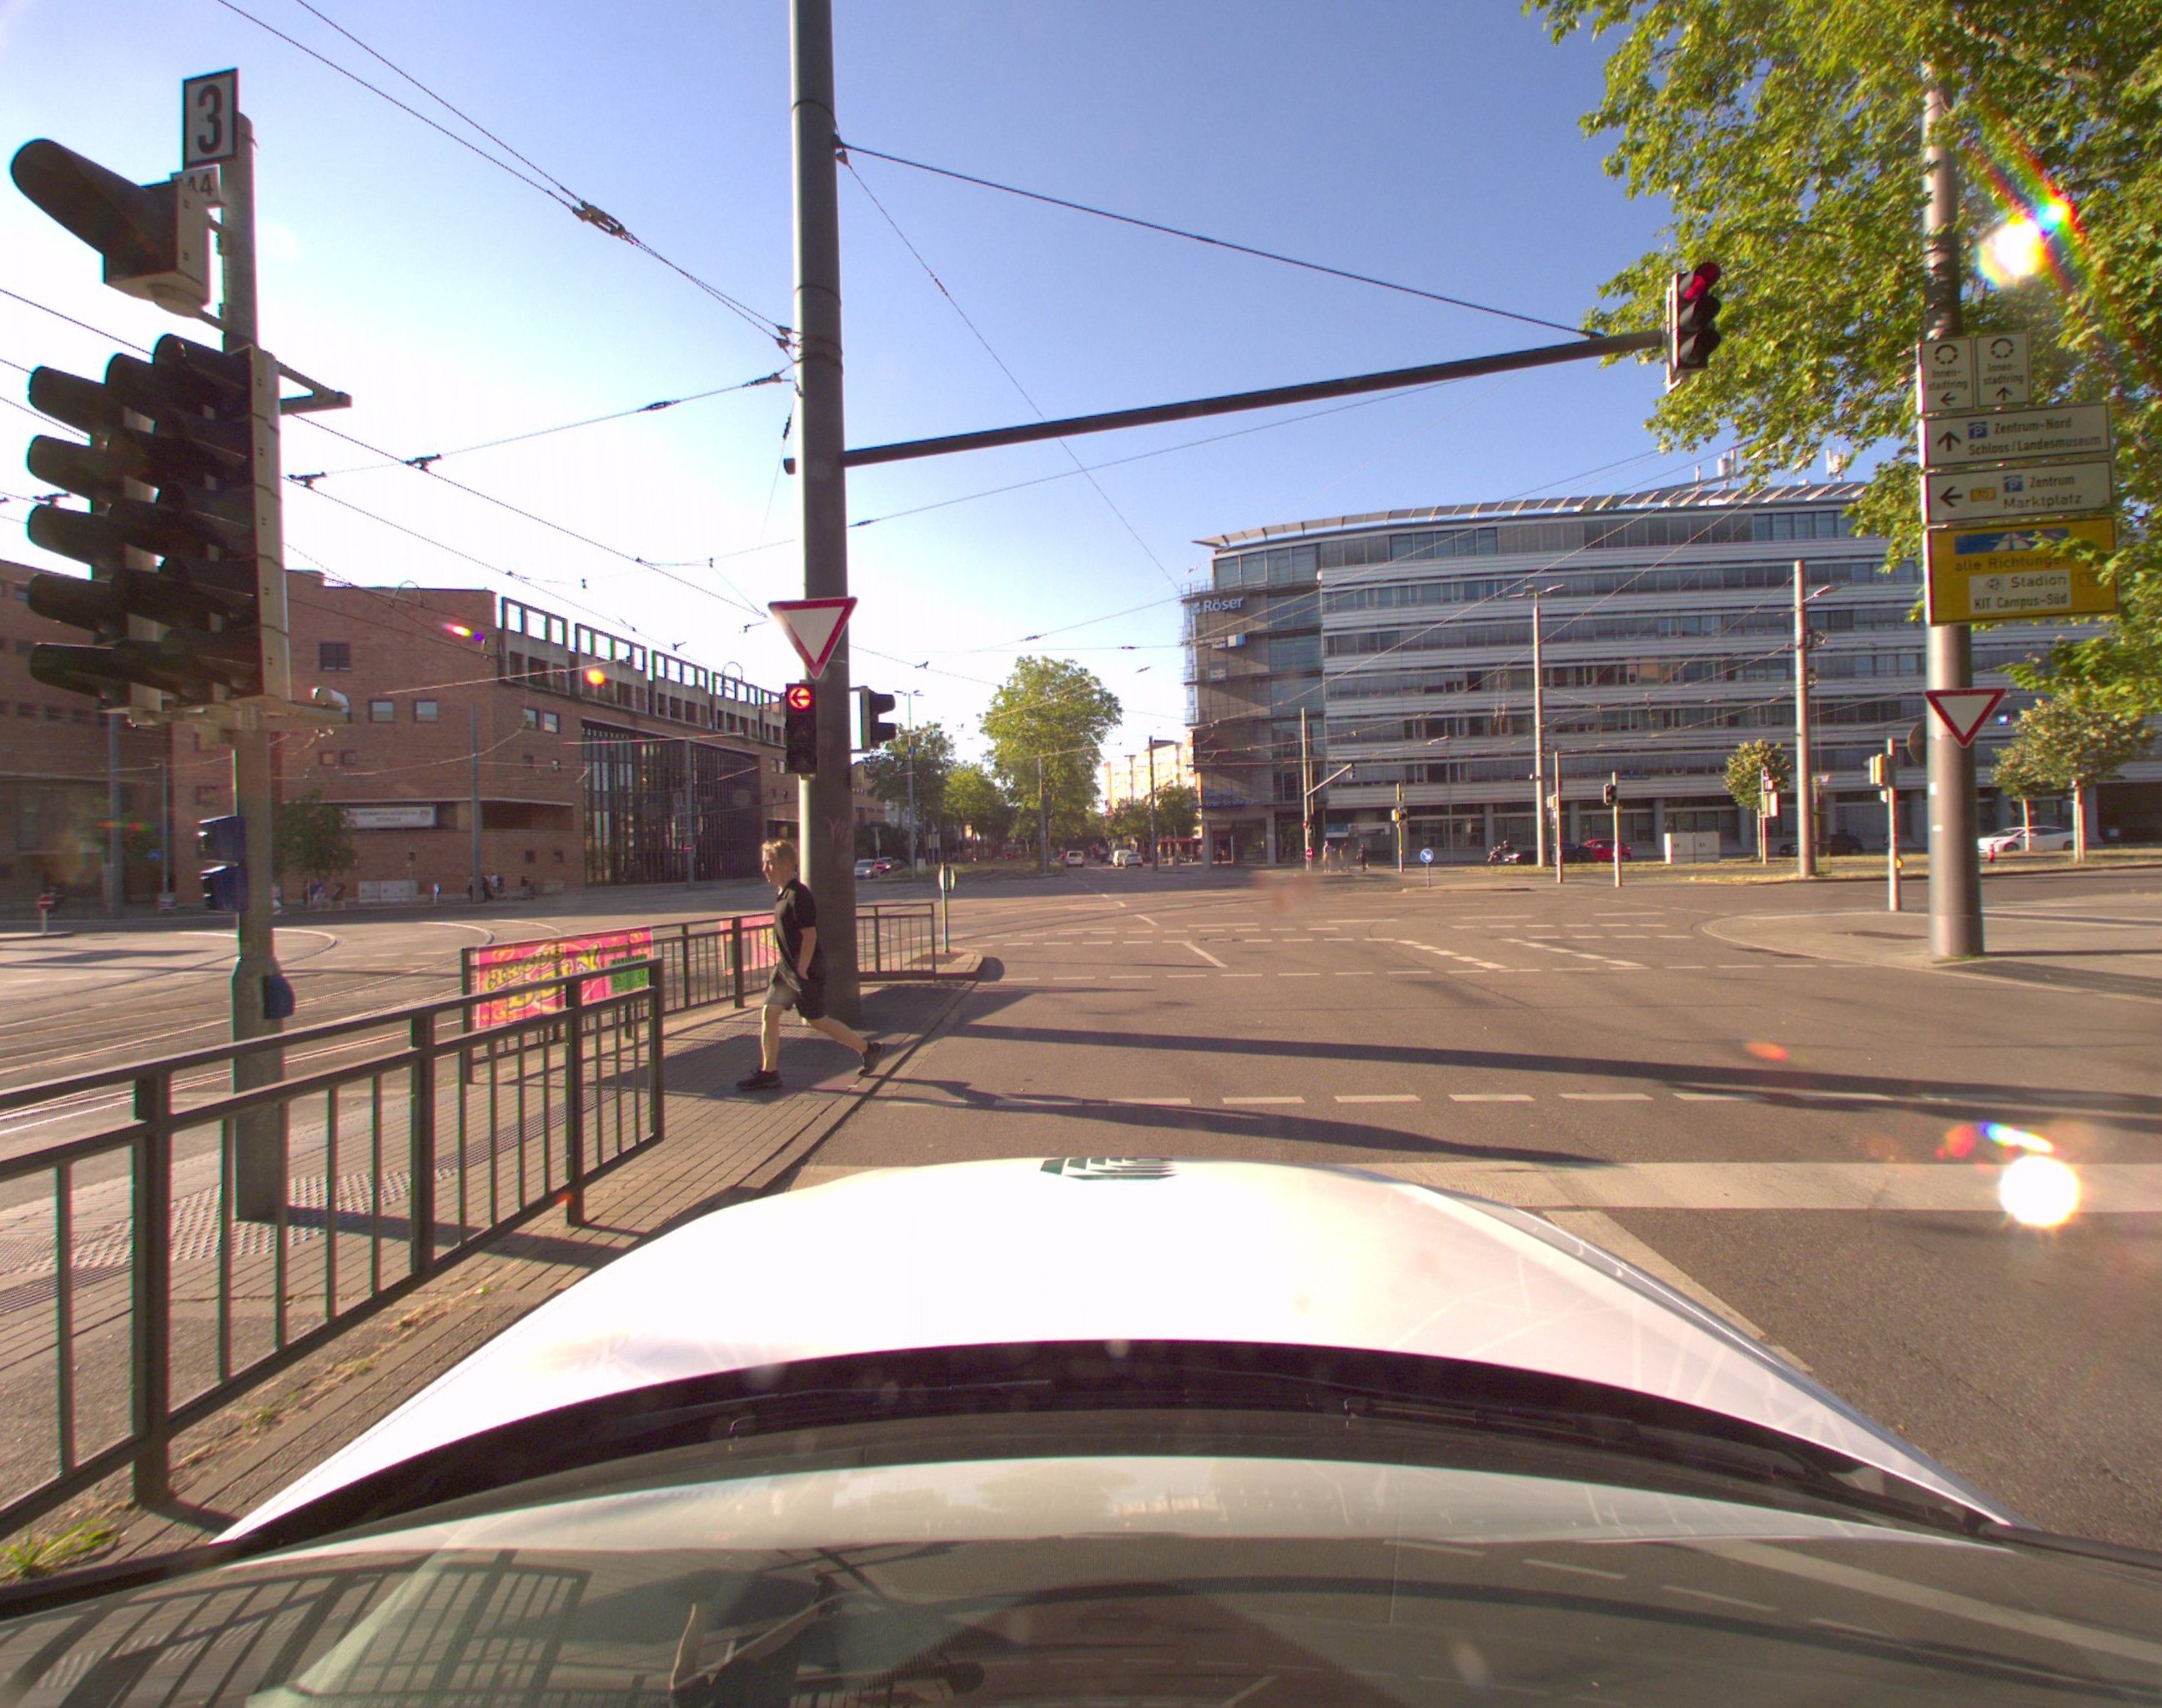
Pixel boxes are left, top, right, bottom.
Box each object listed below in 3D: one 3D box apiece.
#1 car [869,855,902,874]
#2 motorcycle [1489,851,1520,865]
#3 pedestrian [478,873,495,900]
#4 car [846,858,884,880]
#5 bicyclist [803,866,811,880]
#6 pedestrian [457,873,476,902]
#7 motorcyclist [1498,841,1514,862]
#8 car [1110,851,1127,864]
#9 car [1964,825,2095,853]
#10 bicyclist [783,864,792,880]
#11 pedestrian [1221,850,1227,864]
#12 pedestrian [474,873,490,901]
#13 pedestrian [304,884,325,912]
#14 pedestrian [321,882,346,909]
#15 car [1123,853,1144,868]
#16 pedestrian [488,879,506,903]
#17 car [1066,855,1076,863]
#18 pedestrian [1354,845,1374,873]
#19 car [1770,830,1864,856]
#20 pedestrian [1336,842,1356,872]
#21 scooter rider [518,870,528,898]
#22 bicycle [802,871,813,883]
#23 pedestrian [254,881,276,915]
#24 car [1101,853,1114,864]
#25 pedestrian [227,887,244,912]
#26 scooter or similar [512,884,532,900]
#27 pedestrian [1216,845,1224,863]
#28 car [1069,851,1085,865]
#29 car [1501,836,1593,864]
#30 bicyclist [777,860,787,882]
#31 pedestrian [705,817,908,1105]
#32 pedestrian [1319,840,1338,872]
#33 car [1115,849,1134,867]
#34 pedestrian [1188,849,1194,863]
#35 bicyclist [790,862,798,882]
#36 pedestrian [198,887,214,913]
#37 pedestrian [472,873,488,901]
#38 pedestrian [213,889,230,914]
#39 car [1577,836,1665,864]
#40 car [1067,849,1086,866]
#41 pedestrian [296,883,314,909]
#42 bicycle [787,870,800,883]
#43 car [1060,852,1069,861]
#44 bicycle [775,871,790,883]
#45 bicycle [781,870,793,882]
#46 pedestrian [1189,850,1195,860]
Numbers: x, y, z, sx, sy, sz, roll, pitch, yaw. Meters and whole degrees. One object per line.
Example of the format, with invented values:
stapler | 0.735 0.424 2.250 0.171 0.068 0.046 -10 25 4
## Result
car | -18.114 0.963 75.530 1.987 1.640 4.001 -2 0 1
motorcycle | 25.480 0.239 49.013 1.560 0.810 0.468 -2 0 6
pedestrian | -36.941 2.031 50.637 0.617 1.625 0.610 -2 0 -14
car | -18.003 1.220 67.955 1.987 1.640 4.001 -2 0 1
bicyclist | -24.300 1.710 72.252 0.503 1.179 0.581 -2 0 1
pedestrian | -37.033 2.018 49.068 0.620 1.683 0.648 -2 0 -12
motorcyclist | 25.575 -0.144 49.027 0.708 1.275 0.460 -2 0 5
car | 4.823 0.477 105.298 1.986 1.618 4.002 -2 0 2
car | 50.739 -0.789 43.653 4.580 1.336 1.789 -2 0 7
bicyclist | -25.062 1.514 69.458 0.503 1.304 0.581 -2 0 1
pedestrian | 16.013 0.299 91.029 0.608 1.507 0.580 -2 0 9
pedestrian | -36.692 2.006 49.908 0.548 1.683 0.571 -2 0 -13
pedestrian | -39.901 2.283 42.375 0.562 1.453 0.618 -2 0 30
pedestrian | -38.083 2.097 41.486 0.597 1.339 0.685 -2 0 22
car | 5.292 0.621 82.824 1.986 1.376 4.002 -2 0 2
pedestrian | -35.846 2.248 49.997 0.598 1.421 0.640 -2 0 -10
car | -1.788 0.933 147.253 1.792 1.442 3.999 0 -1 0
pedestrian | 16.314 0.263 46.950 0.942 1.564 0.900 -2 0 11
car | 46.763 -0.692 51.837 4.136 1.398 1.789 -2 0 7
pedestrian | 15.613 0.171 47.957 0.907 1.685 1.038 -2 0 9
scooter rider | -33.720 1.809 49.201 0.441 1.647 0.226 -2 0 -44
bicycle | -24.236 2.043 72.157 0.449 0.963 1.348 -2 0 2
pedestrian | -39.824 2.146 39.745 0.593 1.648 0.552 -2 0 26
car | 4.096 0.656 126.780 1.986 1.618 4.002 -2 0 2
pedestrian | -49.435 2.666 47.599 0.549 1.427 0.563 -2 0 32
scooter or similar | -33.726 2.280 49.153 0.956 0.899 0.173 -2 0 -45
pedestrian | 12.301 -0.011 72.094 0.608 1.507 0.580 -2 0 9
car | -0.528 0.515 113.367 1.986 1.912 4.002 -2 0 2
car | 26.357 -0.224 46.173 4.136 1.398 1.789 -2 0 7
bicyclist | -24.318 1.400 66.335 0.534 1.731 0.581 -2 0 1
pedestrian | -1.870 0.646 5.589 1.098 1.748 0.734 -1 0 -42
pedestrian | 14.263 0.110 46.970 0.859 1.788 0.873 -2 0 8
car | 4.746 0.450 89.642 1.986 1.860 4.002 -2 0 2
pedestrian | 14.172 0.271 104.823 0.741 1.714 0.612 -2 0 1
bicyclist | -23.439 1.436 66.510 0.456 1.603 0.581 -2 0 1
pedestrian | -50.172 2.624 46.694 0.537 1.463 0.583 -2 0 -45
pedestrian | -35.834 1.960 48.537 0.551 1.683 0.588 -2 0 -18
pedestrian | -49.703 2.724 47.114 0.547 1.409 0.577 -2 0 35
car | 32.081 -0.250 48.468 3.966 1.393 1.789 -4 0 7
car | -0.509 0.405 93.513 1.953 1.848 5.333 -2 0 2
pedestrian | -46.092 2.507 48.378 0.548 1.506 0.489 -2 0 -12
bicycle | -23.436 1.841 66.401 0.471 0.963 1.576 -2 0 2
car | -3.884 0.673 191.718 1.986 2.013 4.001 -2 0 1
bicycle | -24.296 1.872 66.314 0.540 0.963 1.587 -2 0 2
bicycle | -25.044 1.852 69.483 0.466 0.963 1.320 -2 0 2
pedestrian | 14.470 0.140 106.146 0.575 1.289 0.910 -2 0 2
